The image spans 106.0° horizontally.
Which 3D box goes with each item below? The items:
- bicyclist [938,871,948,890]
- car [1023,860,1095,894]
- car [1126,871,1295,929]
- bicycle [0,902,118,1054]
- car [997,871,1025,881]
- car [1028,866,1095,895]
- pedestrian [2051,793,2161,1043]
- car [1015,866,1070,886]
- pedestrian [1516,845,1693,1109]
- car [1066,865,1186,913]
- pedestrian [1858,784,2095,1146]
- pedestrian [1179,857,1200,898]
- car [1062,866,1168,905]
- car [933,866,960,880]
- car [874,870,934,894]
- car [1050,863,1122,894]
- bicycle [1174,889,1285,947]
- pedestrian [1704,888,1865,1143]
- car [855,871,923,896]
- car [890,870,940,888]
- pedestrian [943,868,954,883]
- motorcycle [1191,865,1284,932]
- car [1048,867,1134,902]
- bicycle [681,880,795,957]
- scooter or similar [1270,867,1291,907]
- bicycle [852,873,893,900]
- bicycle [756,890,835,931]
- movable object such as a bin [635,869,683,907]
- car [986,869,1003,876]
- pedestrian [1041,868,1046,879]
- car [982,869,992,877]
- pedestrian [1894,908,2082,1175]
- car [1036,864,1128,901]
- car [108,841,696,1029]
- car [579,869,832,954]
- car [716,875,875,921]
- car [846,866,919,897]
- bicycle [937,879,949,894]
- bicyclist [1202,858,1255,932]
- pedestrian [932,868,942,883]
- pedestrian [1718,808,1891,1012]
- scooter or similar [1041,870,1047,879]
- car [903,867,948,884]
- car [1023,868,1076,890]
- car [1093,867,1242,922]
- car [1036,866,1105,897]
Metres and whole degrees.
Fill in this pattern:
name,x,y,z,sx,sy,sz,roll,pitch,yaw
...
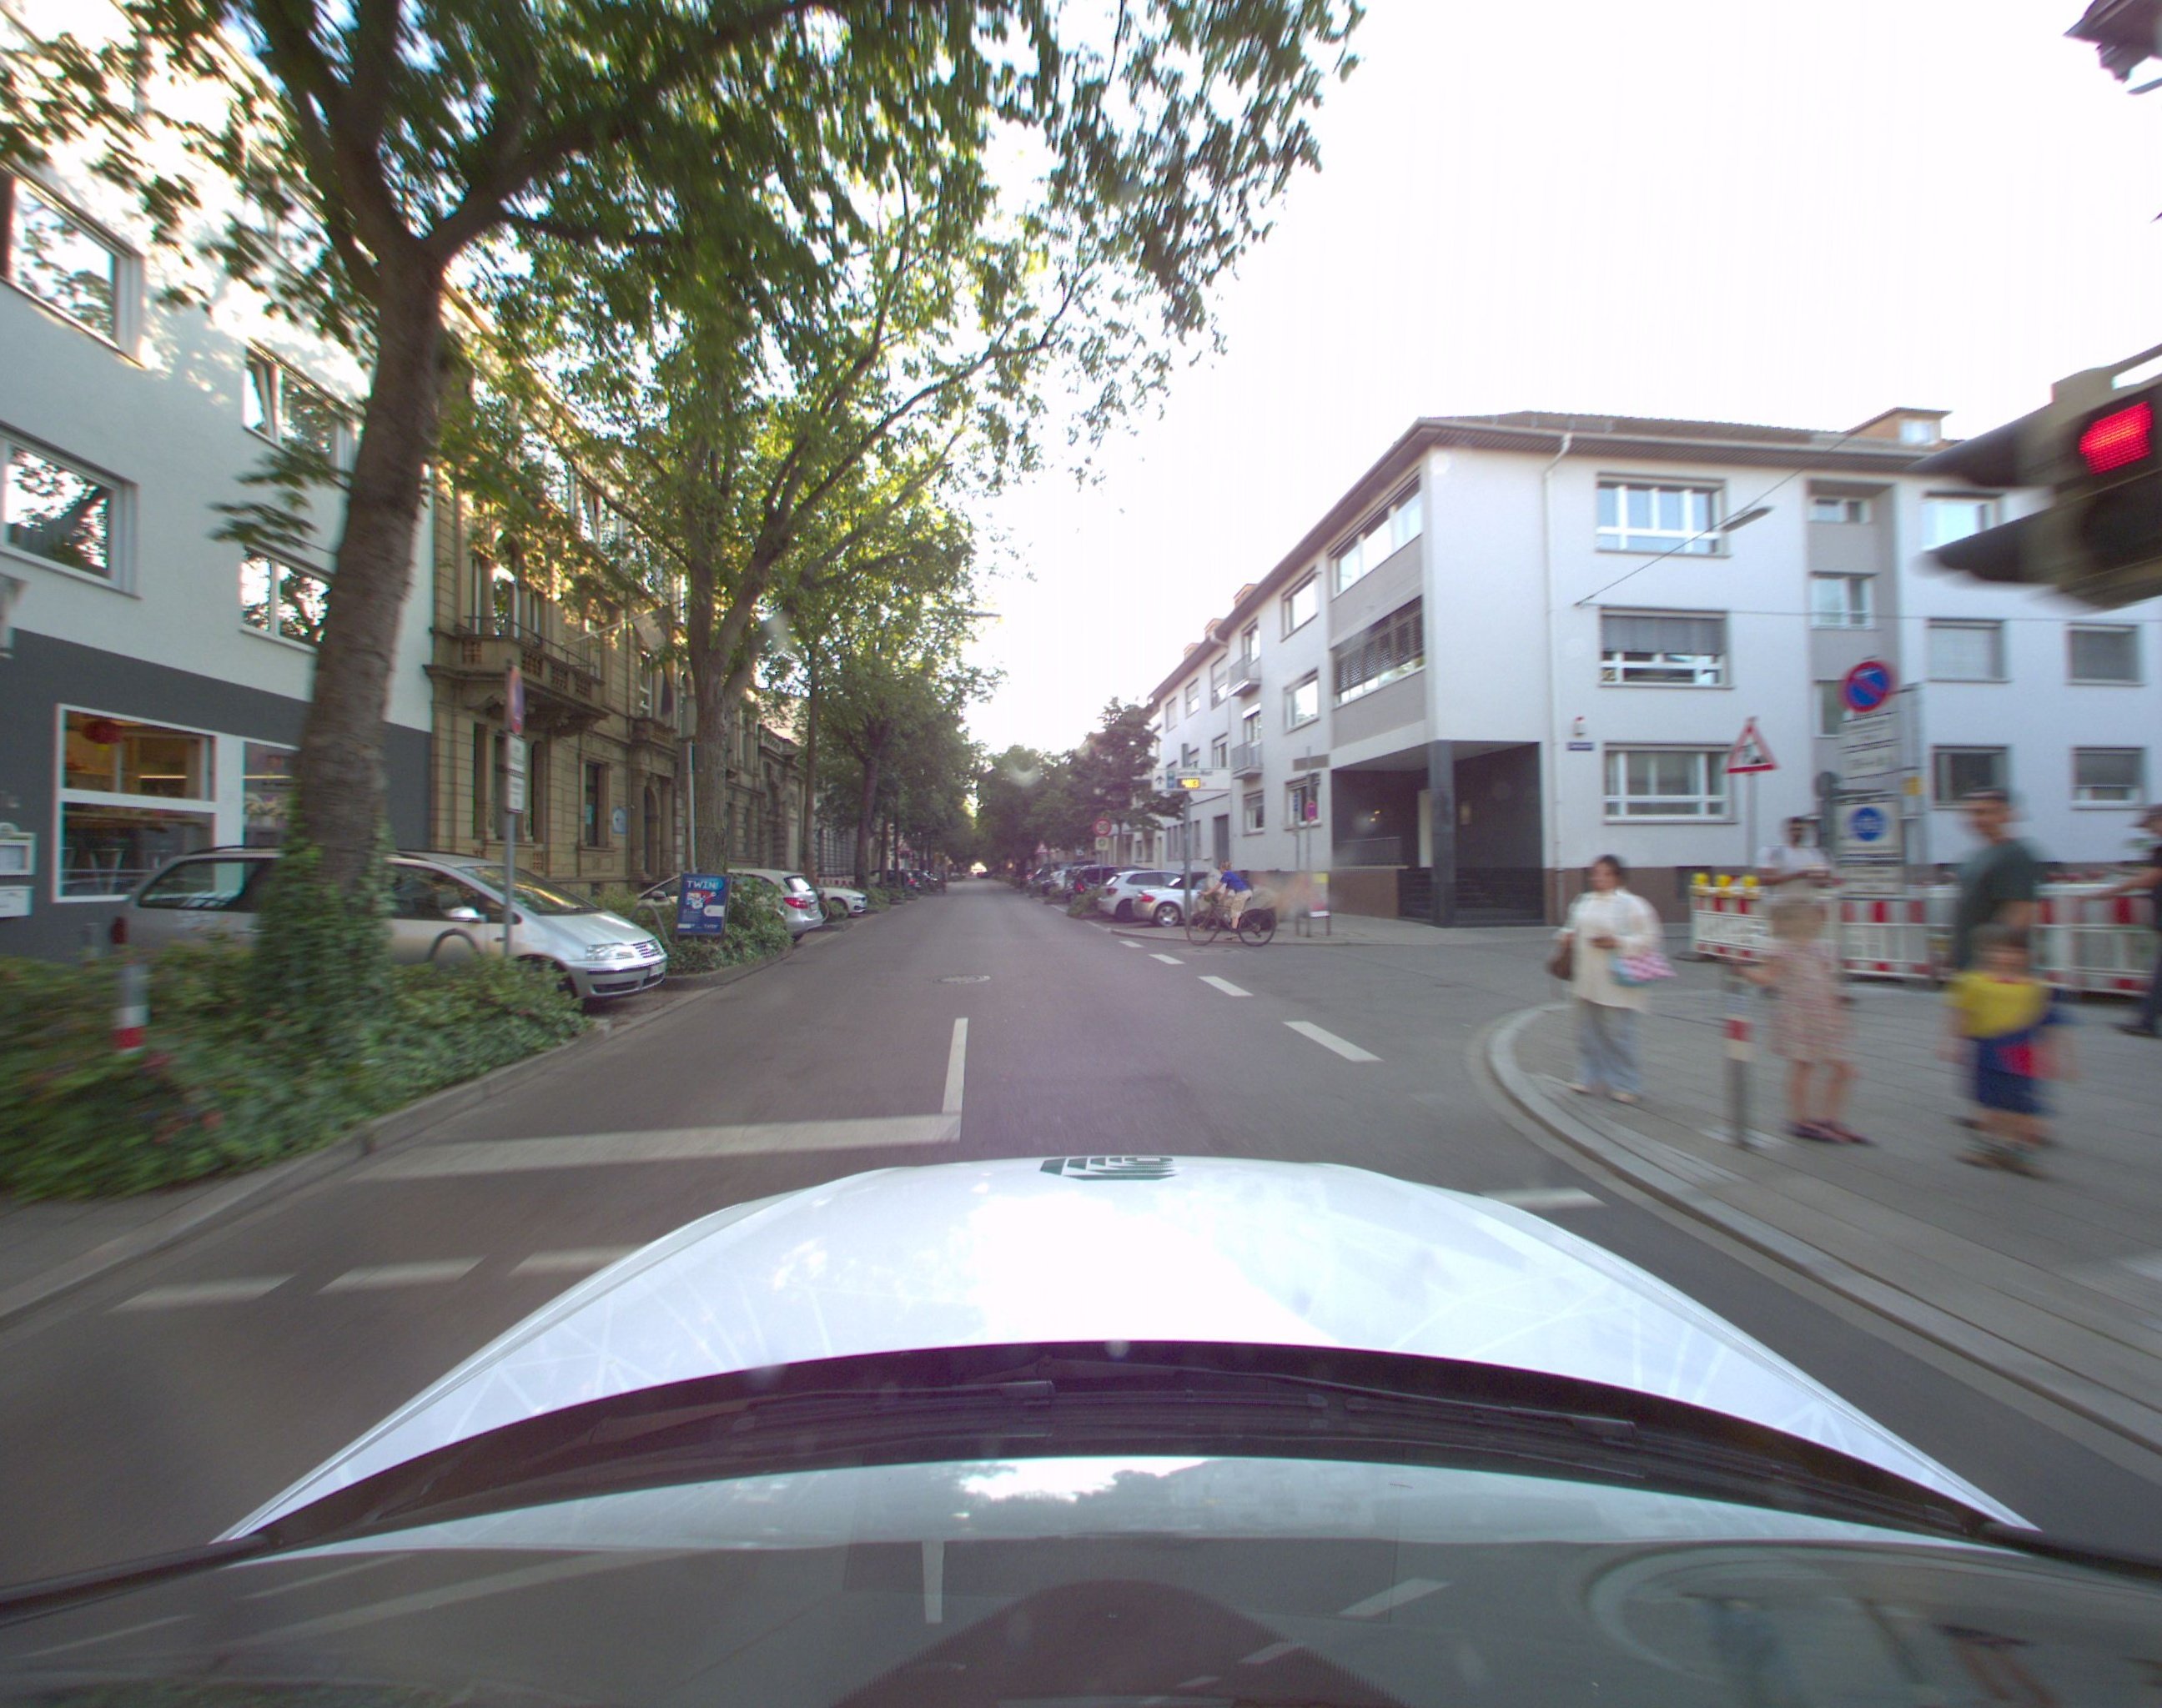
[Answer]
name,x,y,z,sx,sy,sz,roll,pitch,yaw
bicyclist,-9.658,1.842,57.029,0.671,1.264,0.646,-1,-1,-7
car,-1.536,1.570,56.087,4.687,2.011,2.031,-4,-1,-9
car,3.250,1.147,20.890,3.980,1.333,1.791,-1,-1,-5
bicycle,-8.424,0.955,6.066,0.498,1.108,1.794,2,-1,-8
car,-12.178,3.856,141.594,4.711,1.710,1.945,0,-1,-6
car,-1.307,1.726,53.652,4.155,1.578,1.963,-4,-1,-10
pedestrian,8.101,0.450,5.927,0.696,1.795,1.063,-2,-1,-7
car,-3.263,1.848,68.365,4.401,1.394,1.879,-4,-1,-10
pedestrian,3.319,0.723,5.187,0.602,1.511,0.712,-2,-1,-36
car,1.602,1.265,29.828,4.106,1.617,1.956,-1,-1,-7
pedestrian,4.750,0.549,4.355,0.542,1.775,0.574,-3,-1,-6
pedestrian,4.880,1.049,36.589,0.696,1.795,0.879,-1,-1,-7
car,1.435,1.346,35.206,4.313,1.496,1.788,-2,-1,-9
car,-24.525,3.543,148.435,4.679,2.478,1.994,0,-2,-8
car,-13.215,2.087,61.027,4.198,1.672,1.902,1,-1,-8
car,0.251,1.377,46.026,3.792,1.423,1.692,-4,-1,-9
bicycle,2.805,1.188,15.488,1.951,1.030,0.678,-2,-3,33
pedestrian,3.779,0.835,4.409,0.484,1.261,0.454,-3,-1,22
car,-12.163,1.868,51.861,3.961,1.387,1.760,3,-1,-7
car,-13.778,2.088,67.915,3.943,1.532,1.902,0,-2,-9
pedestrian,-14.992,2.403,92.127,0.822,1.671,0.801,-2,-2,18
motorcycle,3.417,0.972,17.993,1.898,1.392,1.001,-1,-2,5
car,0.454,1.510,40.929,4.069,1.429,1.814,-4,-1,-6
bicycle,-6.218,1.153,14.861,1.796,1.326,0.770,0,-1,-14
scooter or similar,6.295,1.030,25.712,0.344,1.239,1.421,-1,-1,3
bicycle,-9.554,1.504,37.365,1.767,1.232,0.499,0,-3,-3
bicycle,-7.317,1.443,20.922,1.792,1.009,0.597,1,-2,-7
movable object such as a bin,-12.233,0.984,23.673,0.800,1.062,1.313,2,-2,-8
car,-22.604,4.807,212.386,4.265,1.565,1.957,-2,-2,-8
pedestrian,-5.292,2.711,115.347,0.654,1.536,0.829,-1,-1,-7
car,-19.305,3.933,167.415,1.955,1.565,4.271,-2,-2,-7
pedestrian,4.412,0.856,3.990,0.496,1.145,0.539,-2,-1,-43
car,0.012,1.498,43.203,4.589,1.578,1.938,-4,-1,-9
car,-6.830,0.819,8.776,4.424,1.722,1.884,2,-2,-10
car,-7.289,1.089,16.188,4.164,1.557,1.823,0,-1,-5
car,-9.121,1.379,26.364,4.507,1.390,1.912,0,-2,-6
car,-11.830,1.626,48.679,3.962,1.597,1.776,3,-2,-8
bicycle,-9.653,2.288,57.015,0.671,0.994,1.754,-1,-1,-7
bicyclist,2.806,0.780,15.499,0.766,1.364,0.678,-2,-3,33
pedestrian,-16.192,2.402,91.429,0.822,1.737,0.801,-2,-2,18
pedestrian,7.090,0.521,8.044,0.695,1.855,1.048,-2,-1,-3
scooter or similar,-5.224,2.881,114.806,0.654,1.153,0.829,-1,-1,-7
car,-16.228,2.222,84.949,4.421,1.651,1.868,1,-1,-7
car,-2.580,2.036,66.014,3.987,1.438,1.920,-4,-1,-9
car,2.426,1.131,23.440,3.983,1.438,1.789,-1,-1,-7
car,-0.664,1.707,50.598,3.964,1.578,1.845,-4,-1,-9
